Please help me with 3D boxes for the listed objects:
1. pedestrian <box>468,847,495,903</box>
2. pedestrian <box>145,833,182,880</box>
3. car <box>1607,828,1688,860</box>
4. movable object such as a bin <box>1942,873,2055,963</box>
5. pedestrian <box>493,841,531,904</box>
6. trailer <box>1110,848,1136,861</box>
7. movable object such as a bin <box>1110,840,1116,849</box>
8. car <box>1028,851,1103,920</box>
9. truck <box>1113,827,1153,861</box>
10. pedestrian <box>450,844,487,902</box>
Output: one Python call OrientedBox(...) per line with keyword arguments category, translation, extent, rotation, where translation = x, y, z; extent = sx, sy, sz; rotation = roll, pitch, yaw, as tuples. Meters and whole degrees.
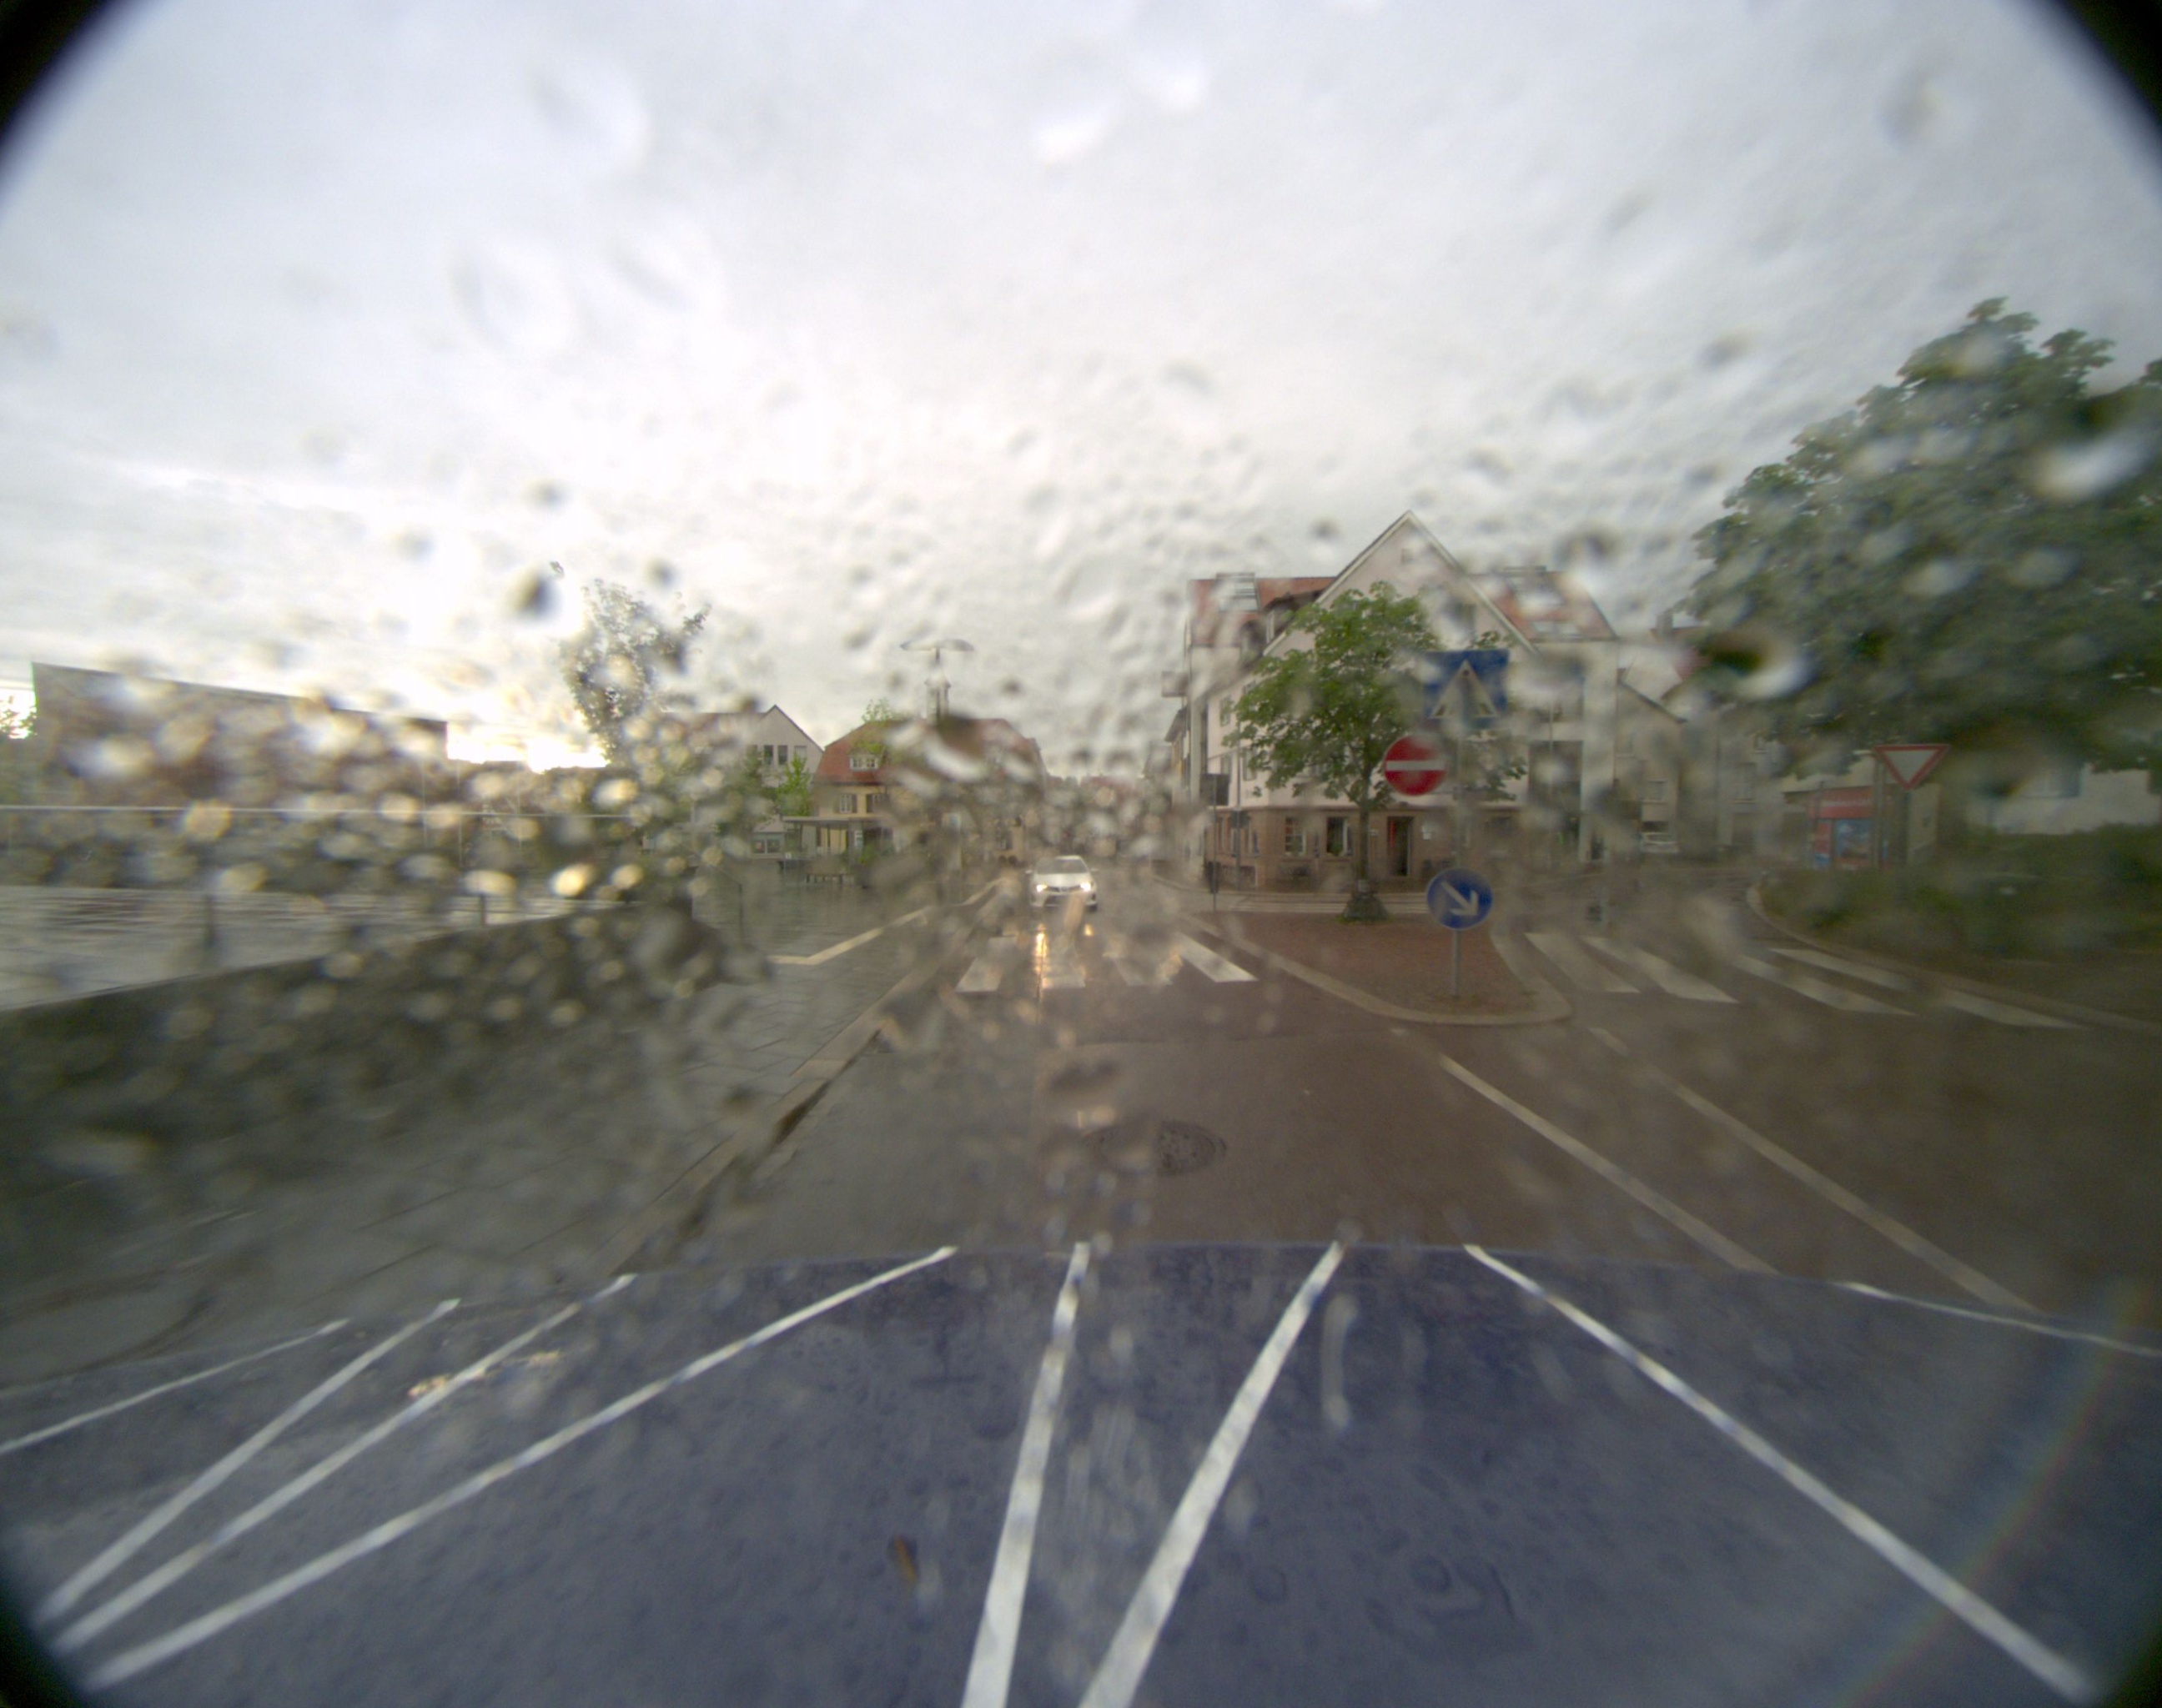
OrientedBox(category="pedestrian", translation=(-26.231, 0.913, 33.241), extent=(0.735, 2.426, 0.570), rotation=(1, 3, 15))
OrientedBox(category="pedestrian", translation=(-46.225, 0.103, 38.278), extent=(0.902, 2.295, 0.800), rotation=(1, 3, 11))
OrientedBox(category="car", translation=(31.208, -0.594, 41.995), extent=(1.828, 1.612, 3.890), rotation=(1, 2, 7))
OrientedBox(category="movable object such as a bin", translation=(11.807, 0.805, 9.807), extent=(0.634, 1.053, 0.699), rotation=(2, 3, 24))
OrientedBox(category="pedestrian", translation=(-24.847, 0.781, 33.183), extent=(1.054, 2.669, 0.833), rotation=(2, 3, 19))
OrientedBox(category="trailer", translation=(3.589, 0.066, 65.067), extent=(1.857, 1.118, 3.018), rotation=(0, 0, -4))
OrientedBox(category="movable object such as a bin", translation=(3.937, -1.133, 92.285), extent=(0.697, 1.071, 0.645), rotation=(-2, 2, 3))
OrientedBox(category="car", translation=(-0.339, 0.786, 21.406), extent=(1.867, 1.578, 4.613), rotation=(-1, 2, 1))
OrientedBox(category="truck", translation=(4.029, -0.706, 60.331), extent=(2.406, 2.579, 6.481), rotation=(0, 0, -3))
OrientedBox(category="pedestrian", translation=(-26.097, 0.795, 32.375), extent=(0.942, 2.426, 0.777), rotation=(2, 3, 17))
